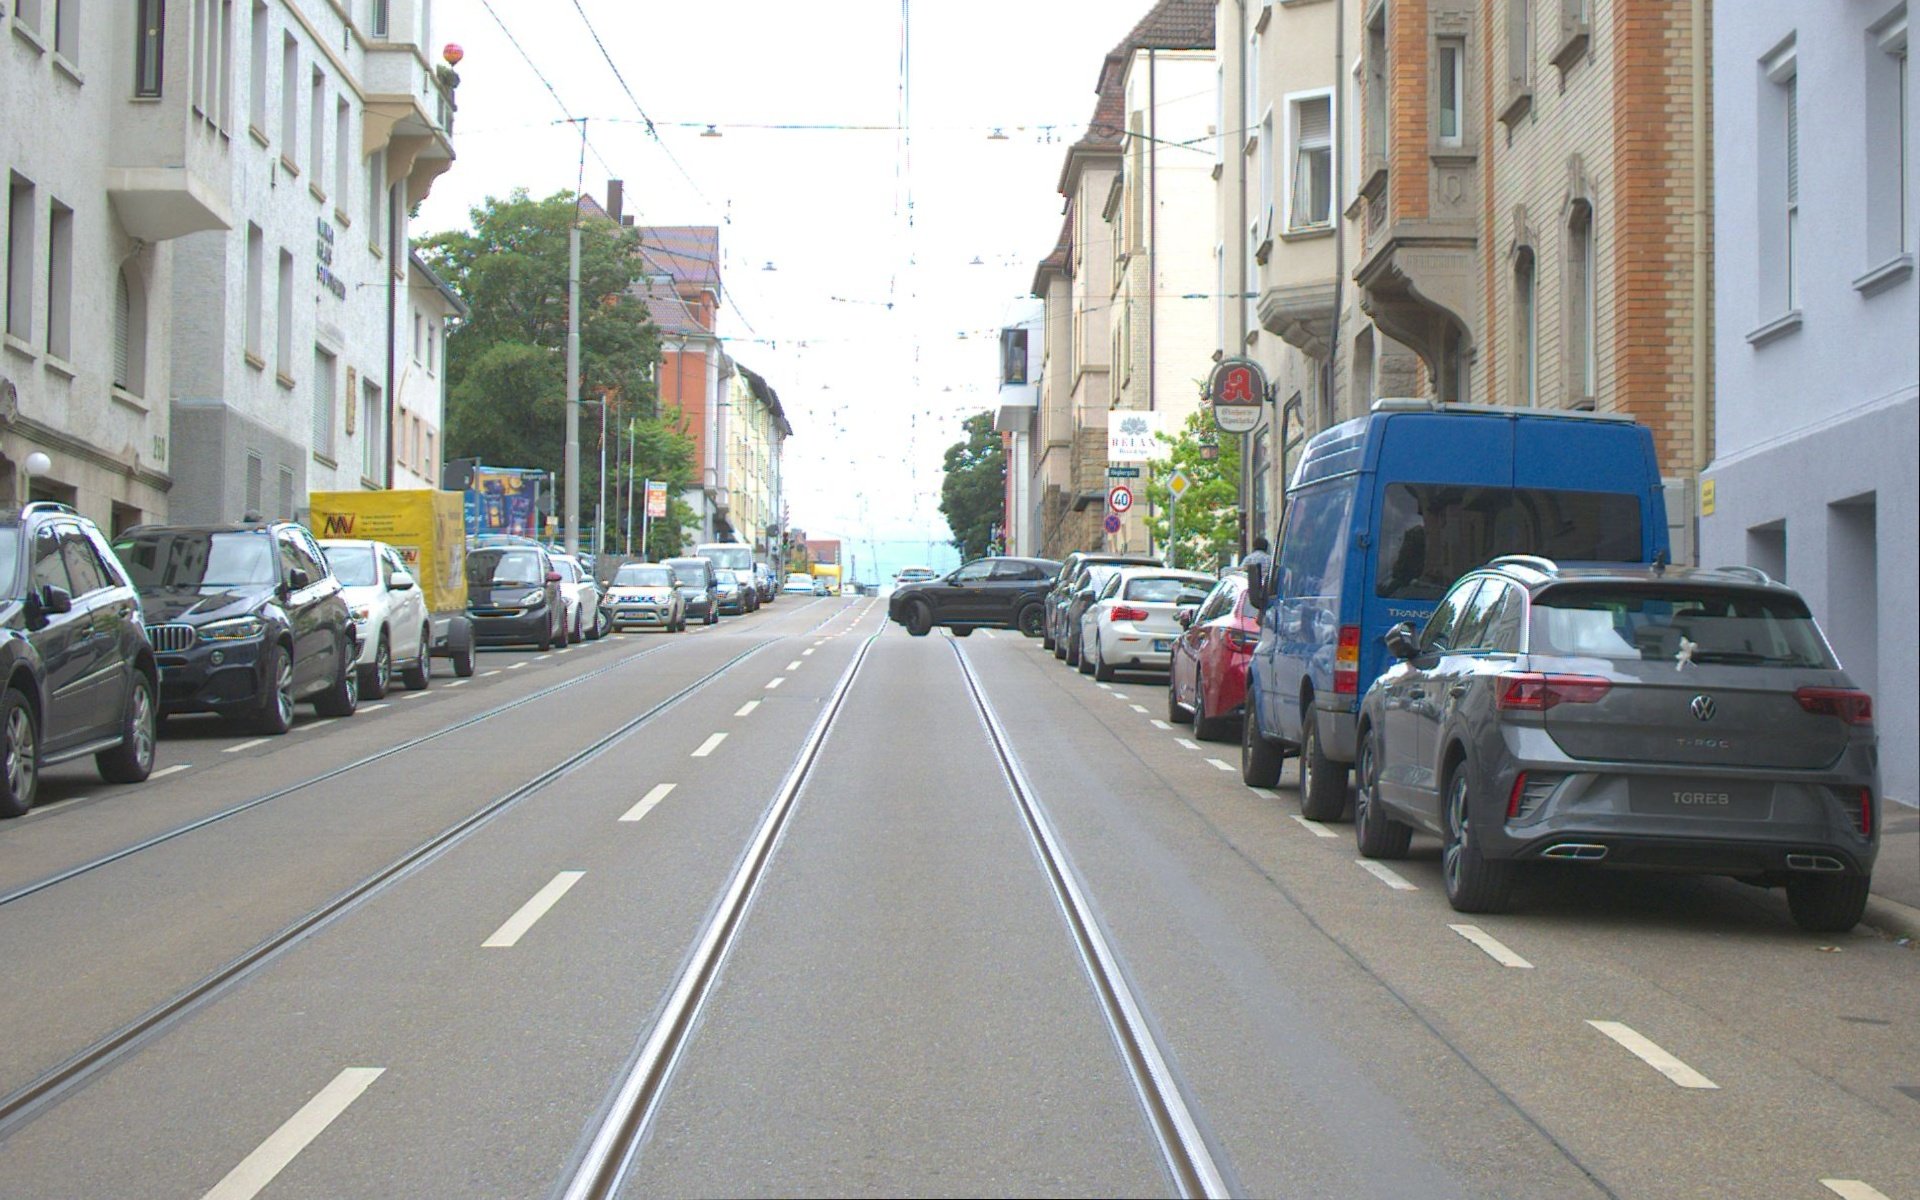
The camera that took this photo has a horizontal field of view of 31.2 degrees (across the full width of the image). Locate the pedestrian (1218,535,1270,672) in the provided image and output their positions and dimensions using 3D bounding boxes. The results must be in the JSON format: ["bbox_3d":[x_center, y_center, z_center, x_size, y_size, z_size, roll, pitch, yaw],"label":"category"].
[{"bbox_3d":[3.755,0.043,45.454,0.599,1.797,0.632,1,0,-1],"label":"pedestrian"}]

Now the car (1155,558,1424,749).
[{"bbox_3d":[2.801,0.409,30.188,1.779,1.470,4.590,3,1,-1],"label":"car"}]

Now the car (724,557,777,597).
[{"bbox_3d":[-7.898,-0.875,129.843,1.712,1.441,4.290,1,1,0],"label":"car"}]

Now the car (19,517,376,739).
[{"bbox_3d":[-6.263,0.167,28.804,1.873,1.658,4.892,-2,1,0],"label":"car"}]

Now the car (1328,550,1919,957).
[{"bbox_3d":[2.938,0.600,16.032,1.779,1.525,4.192,4,1,-2],"label":"car"}]

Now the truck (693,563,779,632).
[{"bbox_3d":[-7.420,-0.115,114.861,2.280,2.180,8.025,1,1,0],"label":"truck"}]

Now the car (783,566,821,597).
[{"bbox_3d":[-8.390,-0.998,182.959,1.855,1.601,4.297,1,1,-1],"label":"car"}]

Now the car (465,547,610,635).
[{"bbox_3d":[-6.836,-0.168,55.954,1.780,1.353,4.291,1,1,1],"label":"car"}]

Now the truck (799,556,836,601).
[{"bbox_3d":[-9.815,-1.475,237.336,2.302,3.026,9.034,1,0,-1],"label":"truck"}]

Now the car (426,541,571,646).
[{"bbox_3d":[-6.770,-0.107,50.692,1.697,1.463,3.023,-2,1,0],"label":"car"}]

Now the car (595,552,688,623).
[{"bbox_3d":[-7.241,-0.304,78.529,1.697,1.551,3.850,1,1,1],"label":"car"}]

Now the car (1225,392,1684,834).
[{"bbox_3d":[2.882,0.060,21.218,1.993,2.368,5.056,1,0,-1],"label":"car"}]

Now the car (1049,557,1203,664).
[{"bbox_3d":[2.339,0.120,49.499,1.779,1.386,4.692,3,1,-2],"label":"car"}]

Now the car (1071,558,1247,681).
[{"bbox_3d":[2.448,0.206,43.166,1.750,1.386,4.308,3,1,-2],"label":"car"}]

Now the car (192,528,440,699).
[{"bbox_3d":[-6.473,0.089,34.971,1.697,1.588,4.268,-2,1,0],"label":"car"}]

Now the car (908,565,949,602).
[{"bbox_3d":[-1.364,-0.713,147.341,1.672,1.508,3.798,1,1,-2],"label":"car"}]

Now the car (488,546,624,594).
[{"bbox_3d":[-12.644,-0.943,107.772,4.060,1.440,1.688,1,1,-1],"label":"car"}]

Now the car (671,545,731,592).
[{"bbox_3d":[-8.116,-0.998,107.884,1.697,1.428,4.482,-1,1,-2],"label":"car"}]

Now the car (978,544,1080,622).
[{"bbox_3d":[1.400,-0.367,71.502,1.993,1.558,4.290,1,1,0],"label":"car"}]

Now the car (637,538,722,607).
[{"bbox_3d":[-7.284,-0.726,89.629,1.744,1.730,4.519,-1,1,1],"label":"car"}]

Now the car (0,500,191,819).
[{"bbox_3d":[-6.093,0.299,20.616,1.827,1.712,4.913,-2,1,0],"label":"car"}]

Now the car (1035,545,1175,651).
[{"bbox_3d":[2.268,-0.055,54.776,1.735,1.532,4.575,3,1,-3],"label":"car"}]

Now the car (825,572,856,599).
[{"bbox_3d":[-7.483,-0.924,215.954,1.855,1.601,4.297,1,1,-1],"label":"car"}]

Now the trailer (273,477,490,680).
[{"bbox_3d":[-6.521,-0.272,39.136,1.748,2.148,4.071,-2,1,0],"label":"trailer"}]
